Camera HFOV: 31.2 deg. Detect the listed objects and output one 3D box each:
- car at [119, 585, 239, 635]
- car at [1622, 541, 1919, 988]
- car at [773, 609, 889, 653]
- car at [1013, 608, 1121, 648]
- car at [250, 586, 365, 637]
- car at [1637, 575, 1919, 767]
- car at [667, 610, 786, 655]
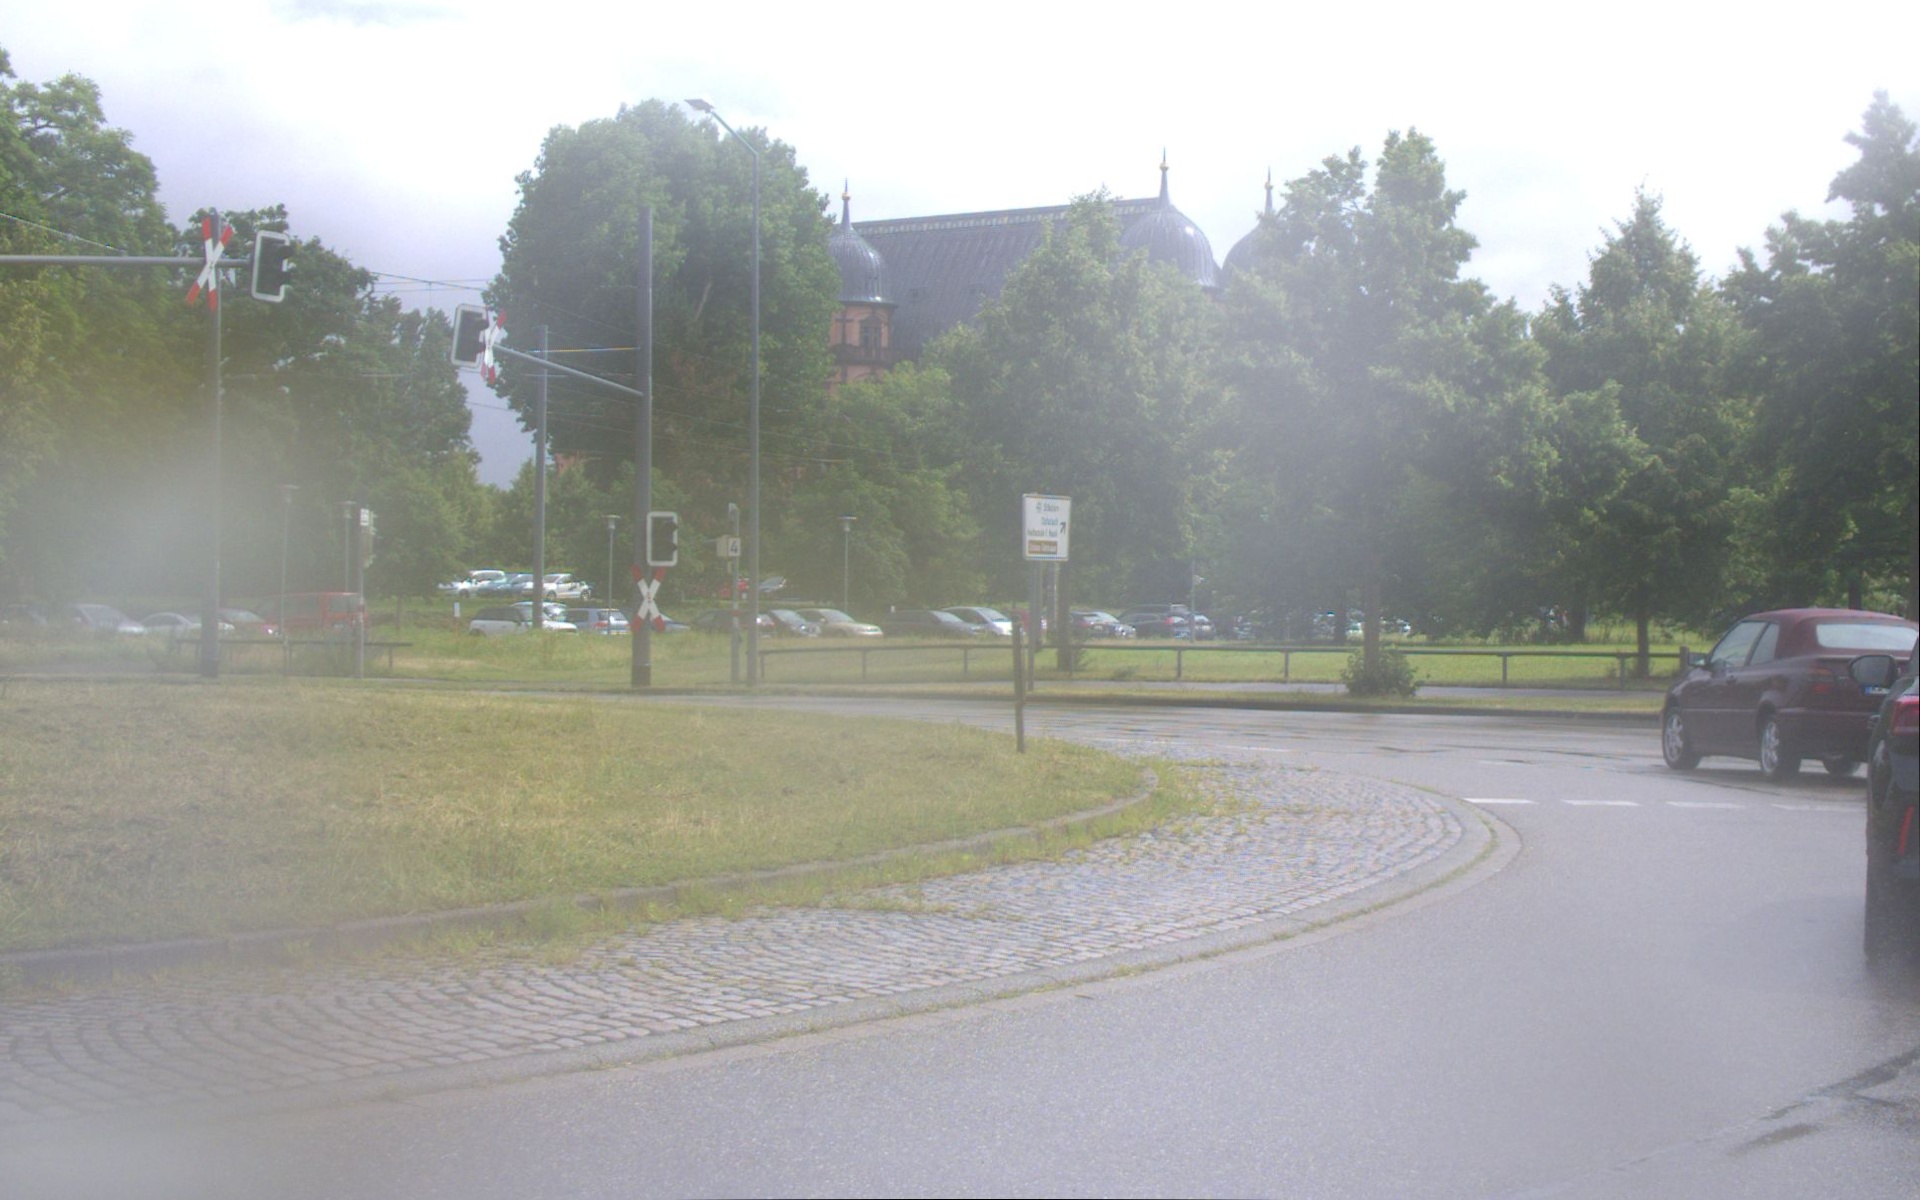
[{"bbox_3d":[-23.066,0.292,101.497,3.607,1.457,1.641,0,0,41],"label":"car"},{"bbox_3d":[3.984,0.623,14.689,1.899,1.612,3.997,3,1,15],"label":"car"},{"bbox_3d":[-4.692,1.119,125.092,3.975,1.554,1.846,0,0,38],"label":"car"},{"bbox_3d":[4.235,1.098,136.331,3.975,1.554,1.846,0,0,38],"label":"car"},{"bbox_3d":[-20.042,0.346,105.545,3.647,1.505,1.646,0,0,44],"label":"car"},{"bbox_3d":[7.189,0.551,29.213,1.714,1.457,4.001,0,1,-6],"label":"car"},{"bbox_3d":[-8.231,1.128,120.893,3.975,1.554,1.846,0,0,38],"label":"car"}]
